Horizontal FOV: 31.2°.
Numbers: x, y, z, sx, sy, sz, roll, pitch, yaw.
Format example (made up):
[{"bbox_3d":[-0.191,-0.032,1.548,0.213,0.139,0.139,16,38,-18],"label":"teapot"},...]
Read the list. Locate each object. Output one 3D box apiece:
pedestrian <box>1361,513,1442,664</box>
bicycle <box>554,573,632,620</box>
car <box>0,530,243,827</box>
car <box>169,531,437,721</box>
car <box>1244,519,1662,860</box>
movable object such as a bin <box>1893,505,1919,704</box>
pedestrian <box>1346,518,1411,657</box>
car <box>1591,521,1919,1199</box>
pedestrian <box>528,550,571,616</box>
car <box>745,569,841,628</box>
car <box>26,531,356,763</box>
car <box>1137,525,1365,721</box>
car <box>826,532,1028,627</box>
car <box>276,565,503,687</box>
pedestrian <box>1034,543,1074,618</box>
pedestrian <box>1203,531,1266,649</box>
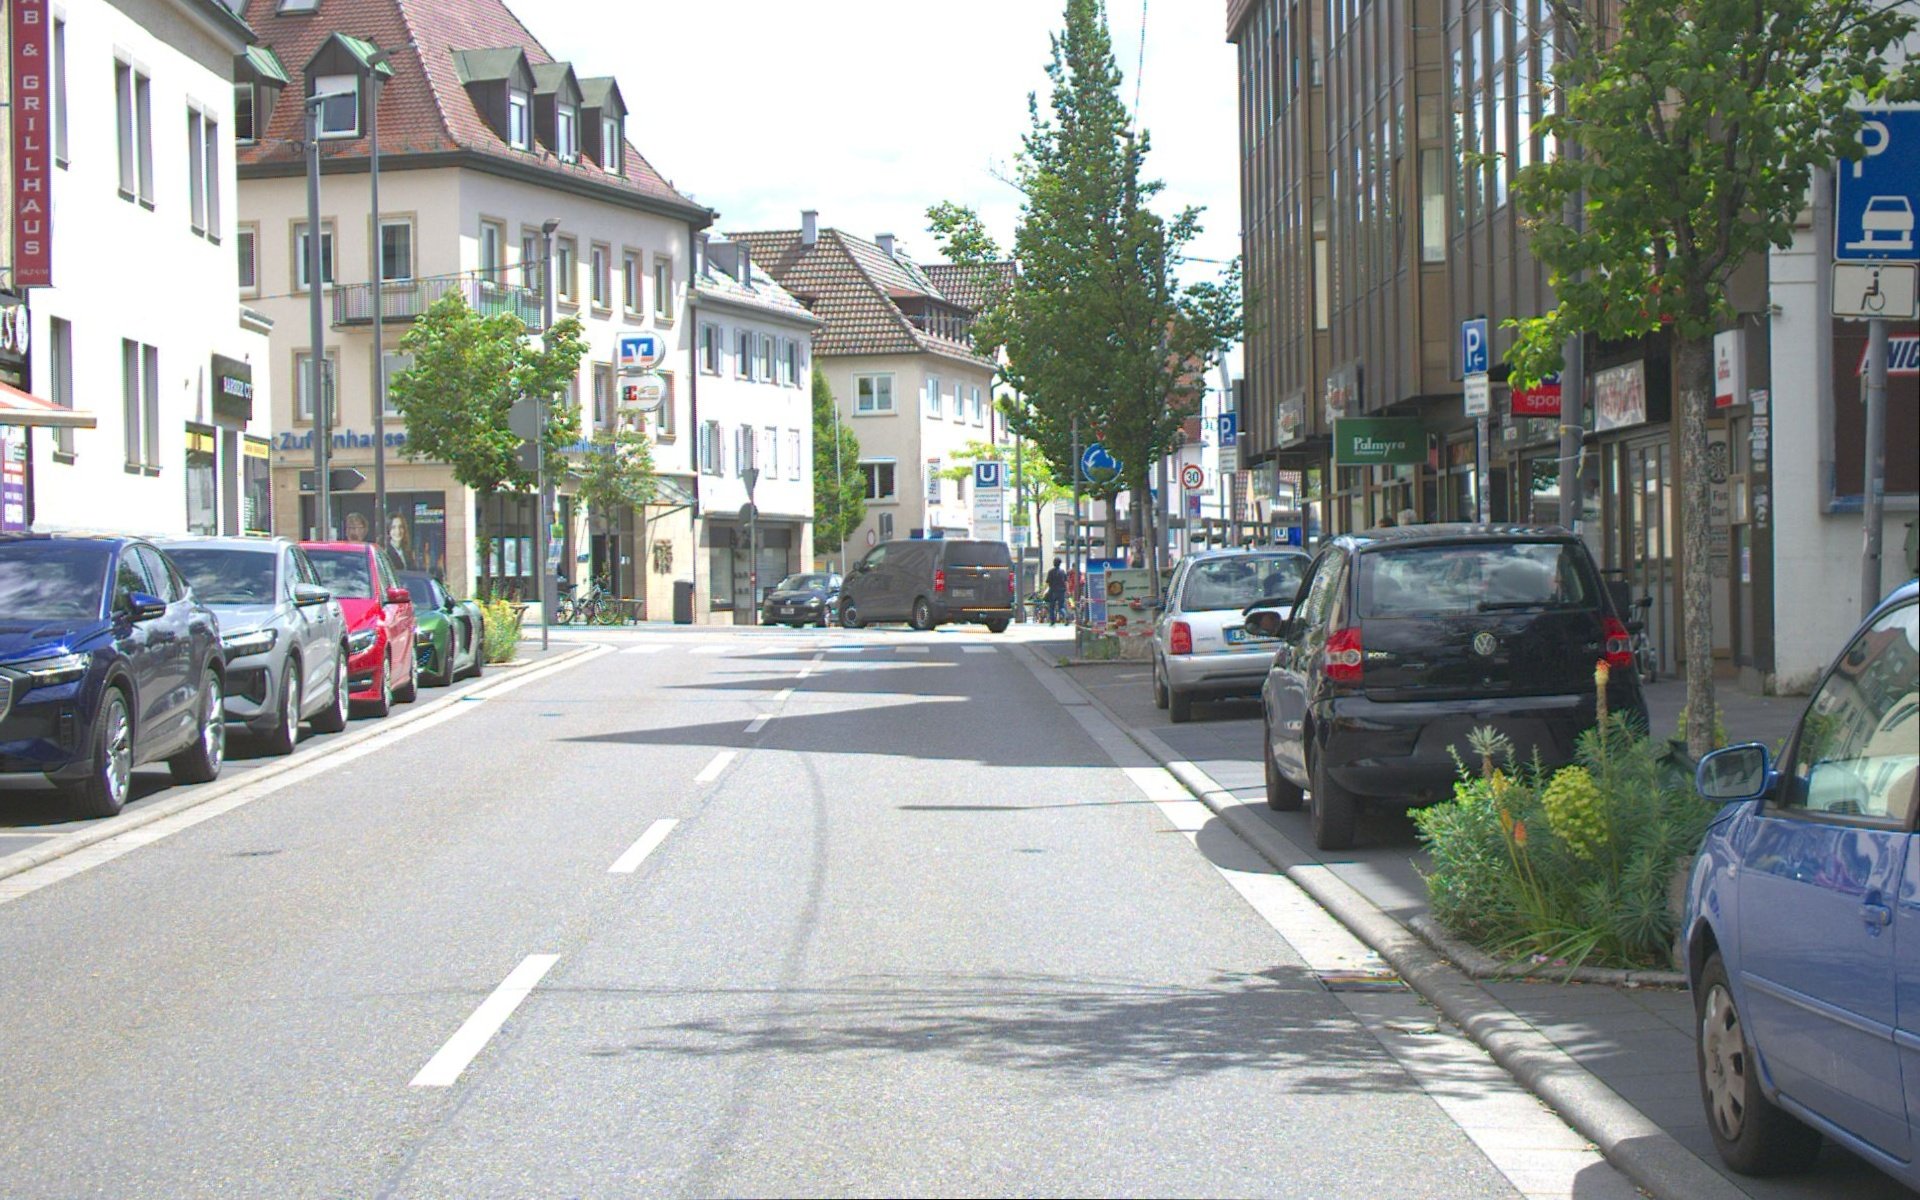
[{"bbox_3d":[5.009,-0.128,39.028,0.655,1.701,0.647,1,0,-23],"label":"pedestrian"},{"bbox_3d":[-8.160,-0.074,76.425,1.633,1.027,0.567,1,0,15],"label":"bicycle"},{"bbox_3d":[-5.658,0.388,20.666,1.799,1.592,4.389,0,1,0],"label":"car"},{"bbox_3d":[-5.945,0.188,31.549,1.799,1.598,4.219,-1,1,-2],"label":"car"},{"bbox_3d":[2.432,0.382,17.762,1.609,1.527,3.795,-2,1,1],"label":"car"},{"bbox_3d":[7.938,0.039,26.649,1.142,1.522,1.032,1,0,2],"label":"movable object such as a bin"},{"bbox_3d":[5.484,-0.164,45.087,0.737,1.808,0.711,1,0,0],"label":"pedestrian"},{"bbox_3d":[2.576,0.609,7.348,1.721,1.488,4.109,1,0,1],"label":"car"},{"bbox_3d":[-9.547,-0.399,79.938,0.627,1.527,0.857,1,0,23],"label":"pedestrian"},{"bbox_3d":[-4.314,-0.031,89.313,1.625,1.481,3.803,1,0,11],"label":"car"},{"bbox_3d":[-5.785,0.295,26.342,1.799,1.598,4.352,-1,1,-4],"label":"car"},{"bbox_3d":[2.470,0.155,29.937,1.609,1.490,3.795,-4,1,1],"label":"car"},{"bbox_3d":[-0.720,-0.419,70.225,2.040,1.842,5.000,1,0,-28],"label":"car"},{"bbox_3d":[-6.292,0.250,38.362,1.818,1.219,4.524,1,1,-1],"label":"car"},{"bbox_3d":[2.140,-0.449,78.292,0.869,1.702,0.530,1,0,2],"label":"pedestrian"},{"bbox_3d":[3.785,-0.144,47.513,0.784,1.610,0.800,1,0,0],"label":"pedestrian"}]
